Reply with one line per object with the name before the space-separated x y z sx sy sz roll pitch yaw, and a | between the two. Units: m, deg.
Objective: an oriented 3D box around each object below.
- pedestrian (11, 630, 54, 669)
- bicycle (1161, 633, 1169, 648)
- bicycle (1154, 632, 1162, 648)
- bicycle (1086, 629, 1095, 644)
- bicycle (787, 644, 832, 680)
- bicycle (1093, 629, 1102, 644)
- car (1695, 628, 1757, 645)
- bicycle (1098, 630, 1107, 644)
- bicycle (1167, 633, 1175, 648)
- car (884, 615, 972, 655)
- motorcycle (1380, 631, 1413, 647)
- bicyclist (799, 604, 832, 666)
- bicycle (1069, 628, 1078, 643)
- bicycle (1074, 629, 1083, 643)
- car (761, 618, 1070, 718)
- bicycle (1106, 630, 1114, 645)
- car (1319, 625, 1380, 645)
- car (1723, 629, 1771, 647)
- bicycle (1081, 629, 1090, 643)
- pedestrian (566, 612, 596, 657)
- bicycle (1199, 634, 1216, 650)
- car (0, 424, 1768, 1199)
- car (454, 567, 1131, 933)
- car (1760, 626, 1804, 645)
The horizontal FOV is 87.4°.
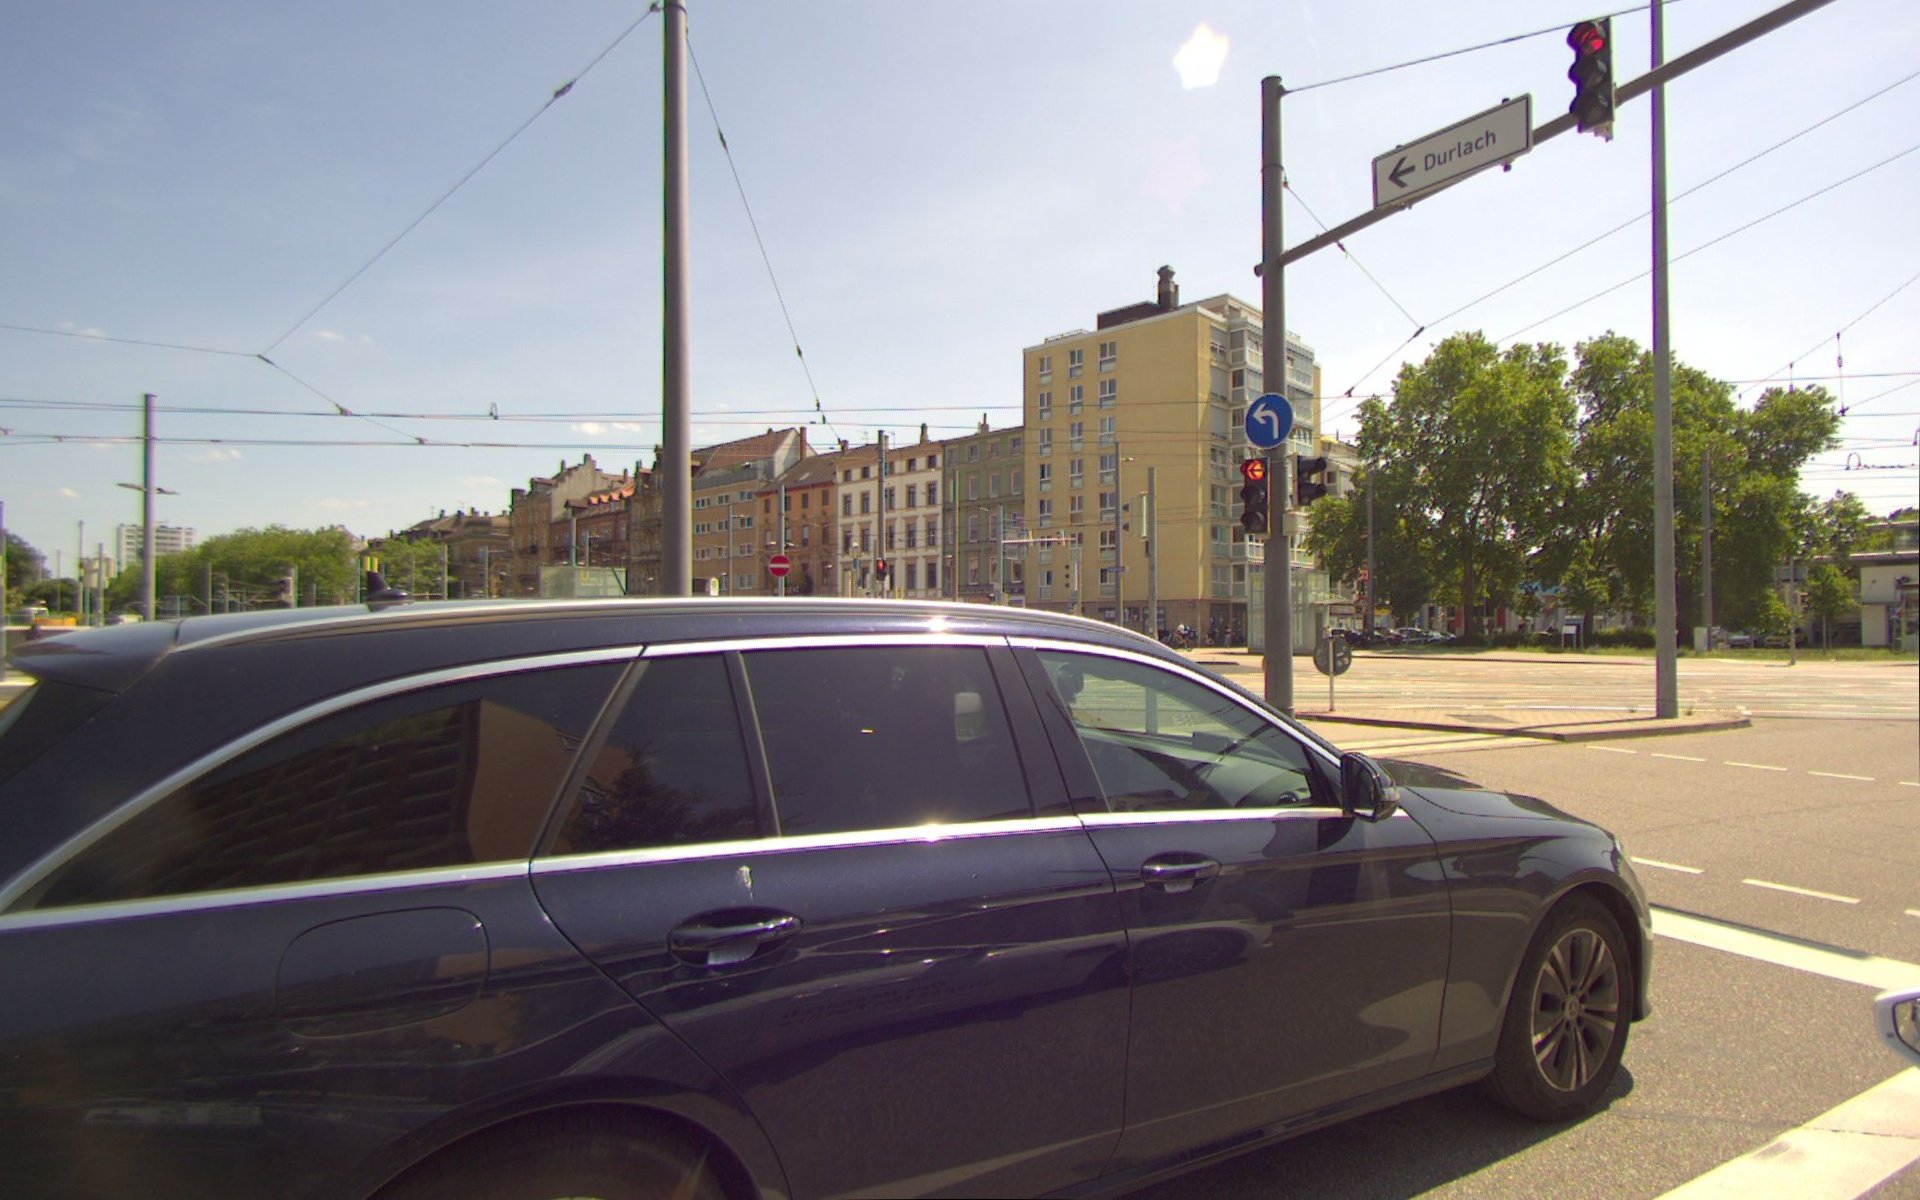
pedestrian | -32.425 1.718 35.120 0.978 1.352 0.527 0 -1 2
bicycle | 14.041 2.762 68.858 0.424 1.040 1.445 0 -1 16
bicycle | 13.667 2.752 69.170 0.424 1.040 1.445 0 -1 16
bicycle | 9.537 2.645 73.297 0.424 1.040 1.445 0 -1 16
bicycle | -3.939 1.589 26.138 0.620 0.866 1.887 1 -2 -26
bicycle | 9.978 2.658 73.001 0.424 1.040 1.445 0 -1 16
car | 71.038 3.392 93.242 4.245 1.530 1.771 -1 -2 26
bicycle | 10.295 2.665 72.604 0.424 1.040 1.445 0 -1 16
bicycle | 14.411 2.773 68.594 0.424 1.040 1.445 0 -1 16
car | -1.761 1.864 54.492 4.804 2.084 1.988 -1 -2 43
motorcycle | 27.637 2.475 63.626 1.887 0.974 0.524 -1 -1 31
bicyclist | -3.768 0.892 26.167 0.433 1.549 1.245 2 0 -26
bicycle | 8.406 2.616 74.382 0.424 1.040 1.445 0 -1 16
bicycle | 8.748 2.625 74.043 0.424 1.040 1.445 0 -1 16
car | -0.750 1.055 16.658 4.773 1.484 1.991 1 -2 -21
bicycle | 10.812 2.680 72.345 0.424 1.040 1.445 0 -1 16
car | 29.552 2.633 76.195 3.939 1.439 1.991 -1 -2 39
car | 68.299 3.243 87.125 4.274 1.530 1.759 1 -2 -29
bicycle | 9.175 2.636 73.606 0.424 1.040 1.445 0 -1 16
pedestrian | -15.635 1.428 41.466 1.114 1.837 0.677 -1 -2 38
bicycle | 16.825 2.848 68.325 0.427 1.040 1.435 -1 -2 44
car | 0.140 0.657 2.888 4.747 1.662 1.789 1 0 -30
car | -0.955 0.703 6.075 3.692 1.597 1.736 1 -2 -30
car | 69.143 2.978 84.504 4.283 1.530 1.756 1 -2 -35
